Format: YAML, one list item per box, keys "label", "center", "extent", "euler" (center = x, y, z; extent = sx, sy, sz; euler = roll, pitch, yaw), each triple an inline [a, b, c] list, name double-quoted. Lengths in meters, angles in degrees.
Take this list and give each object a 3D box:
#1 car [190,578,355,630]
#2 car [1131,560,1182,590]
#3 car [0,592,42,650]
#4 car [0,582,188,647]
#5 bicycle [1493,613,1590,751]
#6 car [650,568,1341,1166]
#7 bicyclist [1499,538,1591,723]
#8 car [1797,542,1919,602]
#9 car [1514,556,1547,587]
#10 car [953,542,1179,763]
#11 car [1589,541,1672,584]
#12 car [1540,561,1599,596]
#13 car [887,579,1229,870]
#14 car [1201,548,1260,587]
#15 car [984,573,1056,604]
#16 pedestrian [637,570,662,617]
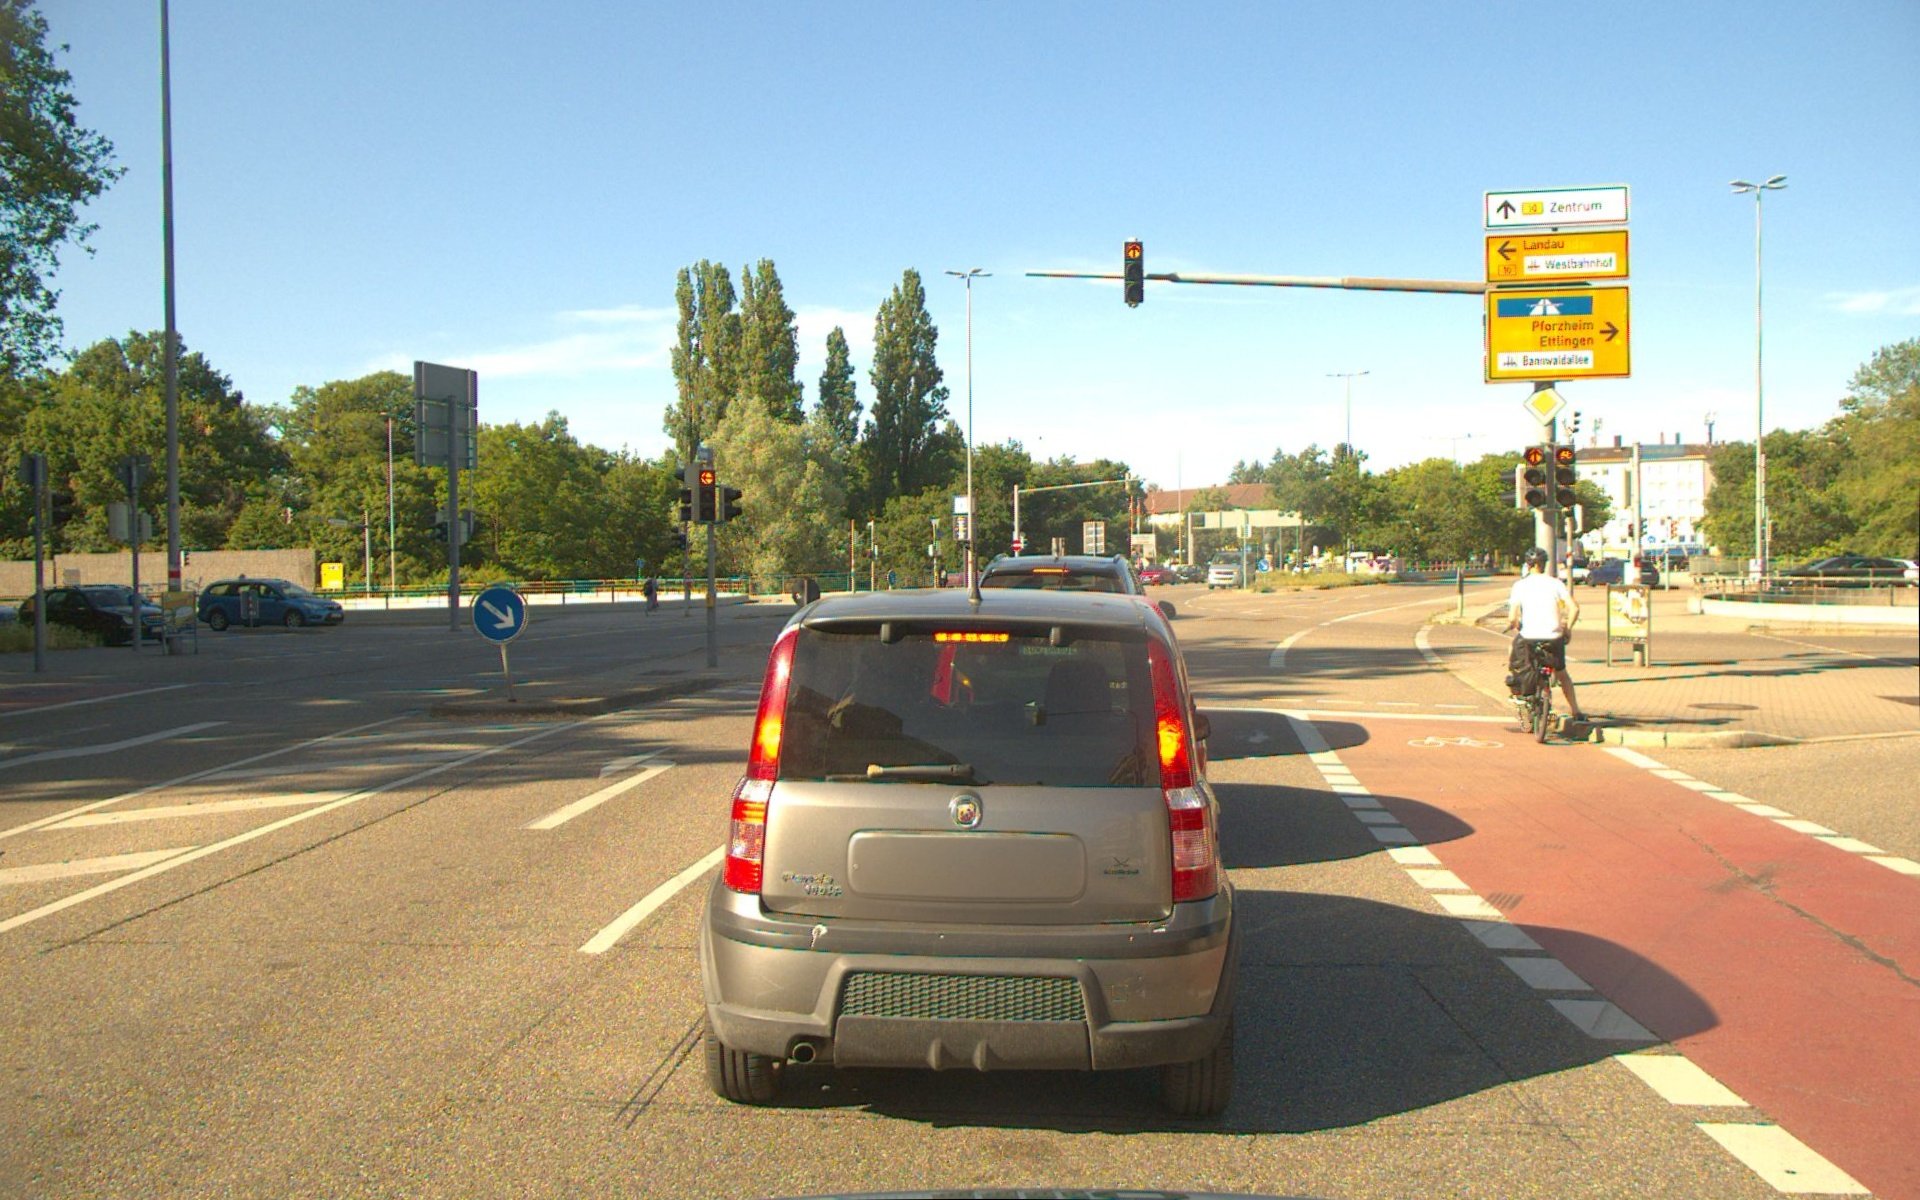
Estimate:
- label: "car"
  center: [-20.709, 0.111, 49.861]
  extent: [4.341, 1.464, 1.828]
  euler: [-1, 1, 13]
- label: "car"
  center: [14.094, -1.775, 118.329]
  extent: [1.975, 1.887, 4.878]
  euler: [-1, -2, 29]
- label: "car"
  center: [-26.412, 0.562, 43.270]
  extent: [4.345, 1.464, 1.826]
  euler: [-1, 1, 22]
- label: "car"
  center: [-21.016, 0.353, 39.924]
  extent: [4.345, 1.464, 1.826]
  euler: [-1, 1, 22]
- label: "bicycle"
  center: [5.692, 0.749, 16.100]
  extent: [0.783, 1.130, 2.402]
  euler: [1, 2, 22]
- label: "car"
  center: [0.185, 0.670, 6.362]
  extent: [1.782, 1.515, 4.002]
  euler: [2, 1, 3]
- label: "bicyclist"
  center: [5.730, 0.263, 16.180]
  extent: [0.783, 1.734, 1.085]
  euler: [1, 2, 22]
- label: "car"
  center: [33.199, -0.995, 60.947]
  extent: [3.922, 2.049, 1.991]
  euler: [-1, -2, 38]
- label: "car"
  center: [36.078, -1.762, 104.544]
  extent: [1.952, 1.781, 4.001]
  euler: [0, -2, 19]
- label: "car"
  center: [1.174, 0.392, 16.113]
  extent: [1.829, 1.821, 4.418]
  euler: [1, 1, 8]
- label: "car"
  center: [33.347, -1.833, 82.378]
  extent: [1.972, 1.887, 4.883]
  euler: [0, -1, -2]
- label: "car"
  center: [33.349, -1.175, 90.591]
  extent: [1.952, 1.781, 4.001]
  euler: [0, -1, 3]
- label: "car"
  center: [0.586, 0.640, 10.725]
  extent: [1.782, 1.505, 4.001]
  euler: [1, 0, 2]
- label: "car"
  center: [14.488, -1.716, 88.465]
  extent: [1.972, 1.887, 4.884]
  euler: [0, -2, 23]
- label: "car"
  center: [3.923, -0.735, 107.942]
  extent: [4.373, 1.887, 1.998]
  euler: [1, -2, -32]
- label: "pedestrian"
  center: [-10.966, -0.218, 58.499]
  extent: [0.673, 1.565, 1.365]
  euler: [0, -3, -3]
